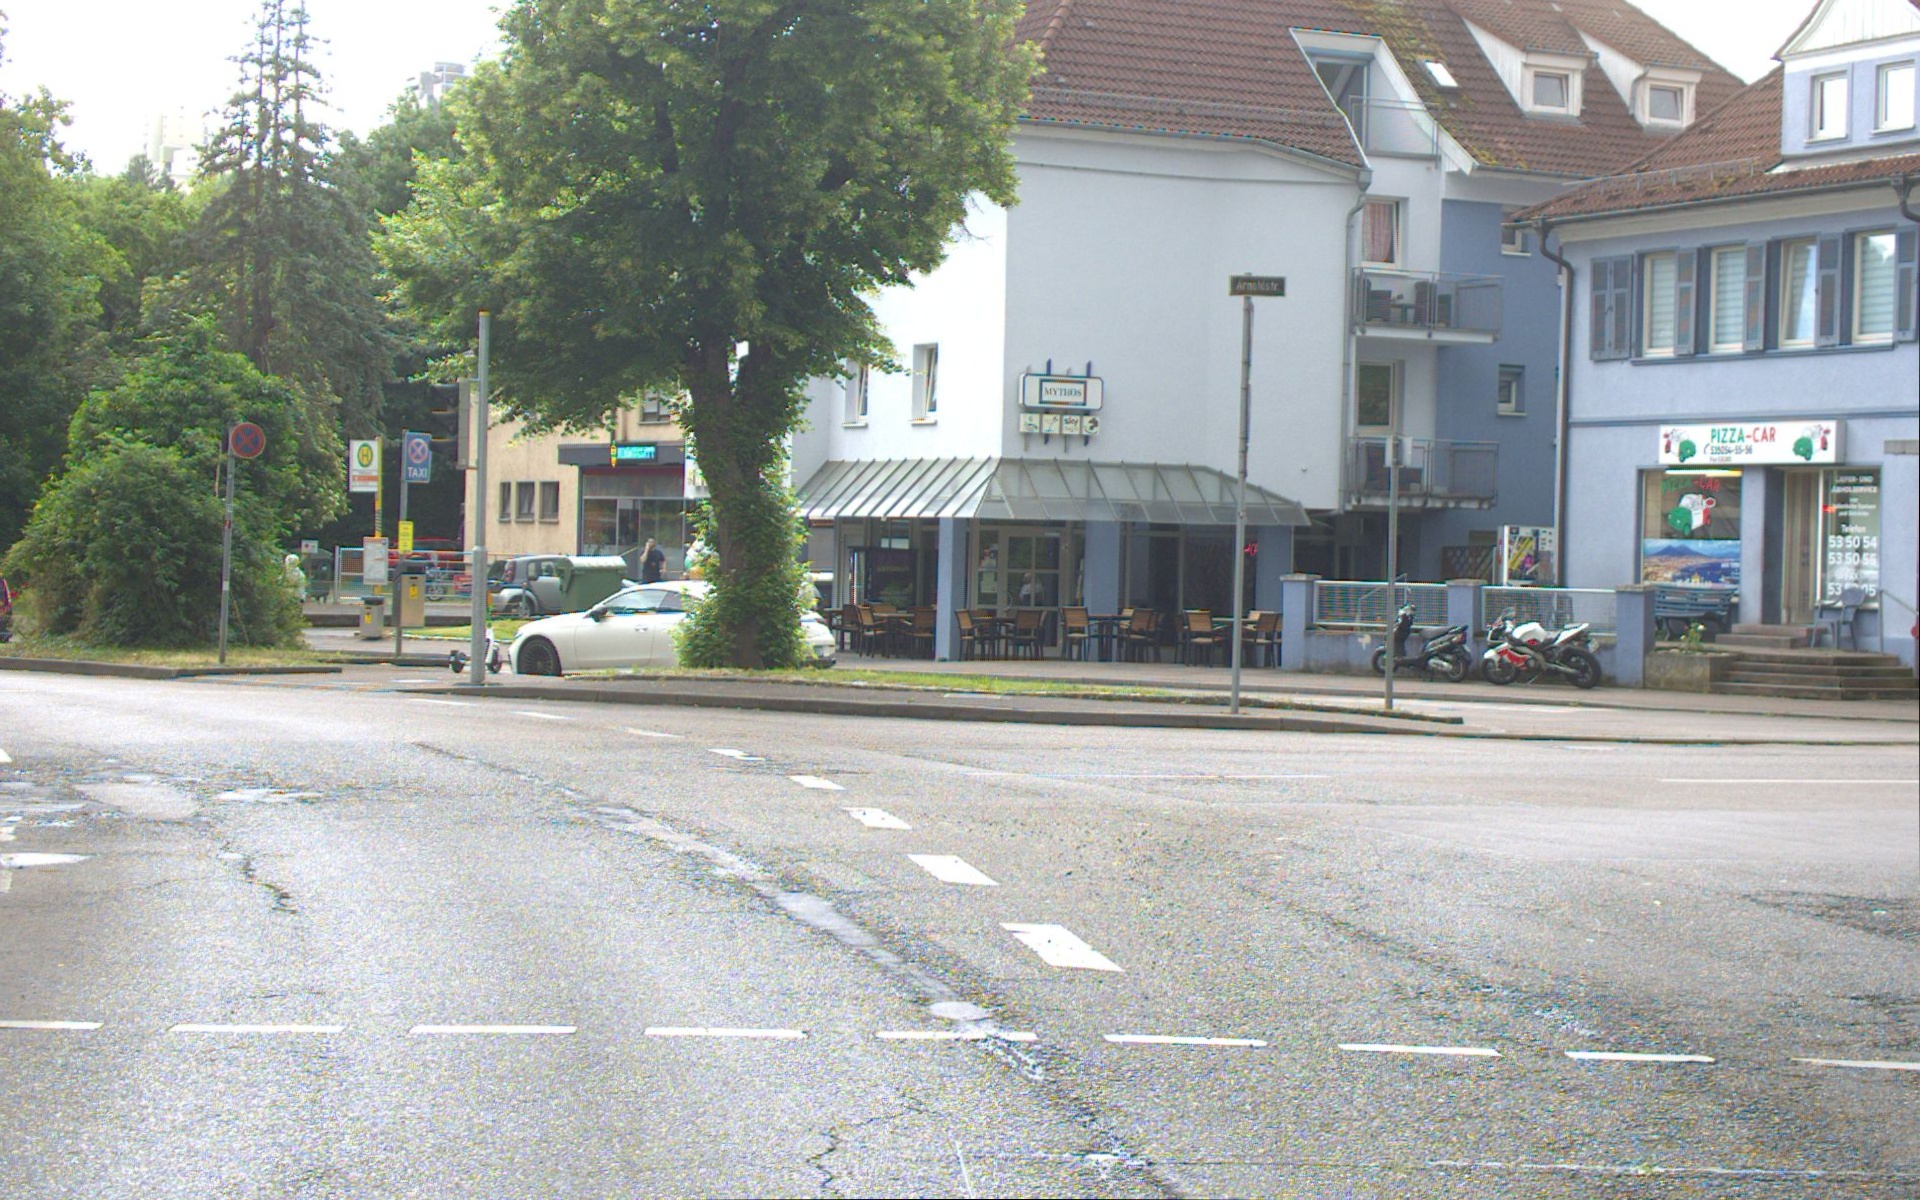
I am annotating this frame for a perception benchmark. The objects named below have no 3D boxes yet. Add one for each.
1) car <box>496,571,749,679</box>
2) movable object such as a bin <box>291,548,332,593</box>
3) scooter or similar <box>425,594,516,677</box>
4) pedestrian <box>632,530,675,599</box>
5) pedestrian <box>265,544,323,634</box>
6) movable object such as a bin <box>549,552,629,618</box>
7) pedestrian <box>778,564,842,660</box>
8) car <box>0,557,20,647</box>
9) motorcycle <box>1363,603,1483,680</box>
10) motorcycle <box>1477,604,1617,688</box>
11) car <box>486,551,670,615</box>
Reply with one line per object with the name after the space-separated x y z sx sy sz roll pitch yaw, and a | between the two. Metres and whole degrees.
-4.534 0.316 46.044 3.171 1.350 1.436 2 1 35 | car
-16.249 -0.733 86.168 0.950 1.111 0.383 1 1 -21 | movable object such as a bin
-6.063 0.432 42.650 0.417 1.008 1.565 1 1 20 | scooter or similar
-6.925 -0.793 77.614 0.676 1.539 0.708 1 1 -34 | pedestrian
-11.619 -0.197 59.964 0.707 1.539 0.677 2 1 40 | pedestrian
-7.985 -0.325 73.976 1.440 1.404 0.967 1 1 -27 | movable object such as a bin
-2.441 0.195 55.898 0.768 1.539 0.677 1 1 39 | pedestrian
-16.517 -0.013 53.723 3.590 1.389 1.469 2 1 32 | car
6.748 0.595 50.160 1.636 1.060 0.693 2 1 44 | motorcycle
8.254 0.633 48.381 1.798 1.118 0.693 2 1 38 | motorcycle
-8.428 -0.367 75.873 3.733 1.340 1.434 1 1 -26 | car
